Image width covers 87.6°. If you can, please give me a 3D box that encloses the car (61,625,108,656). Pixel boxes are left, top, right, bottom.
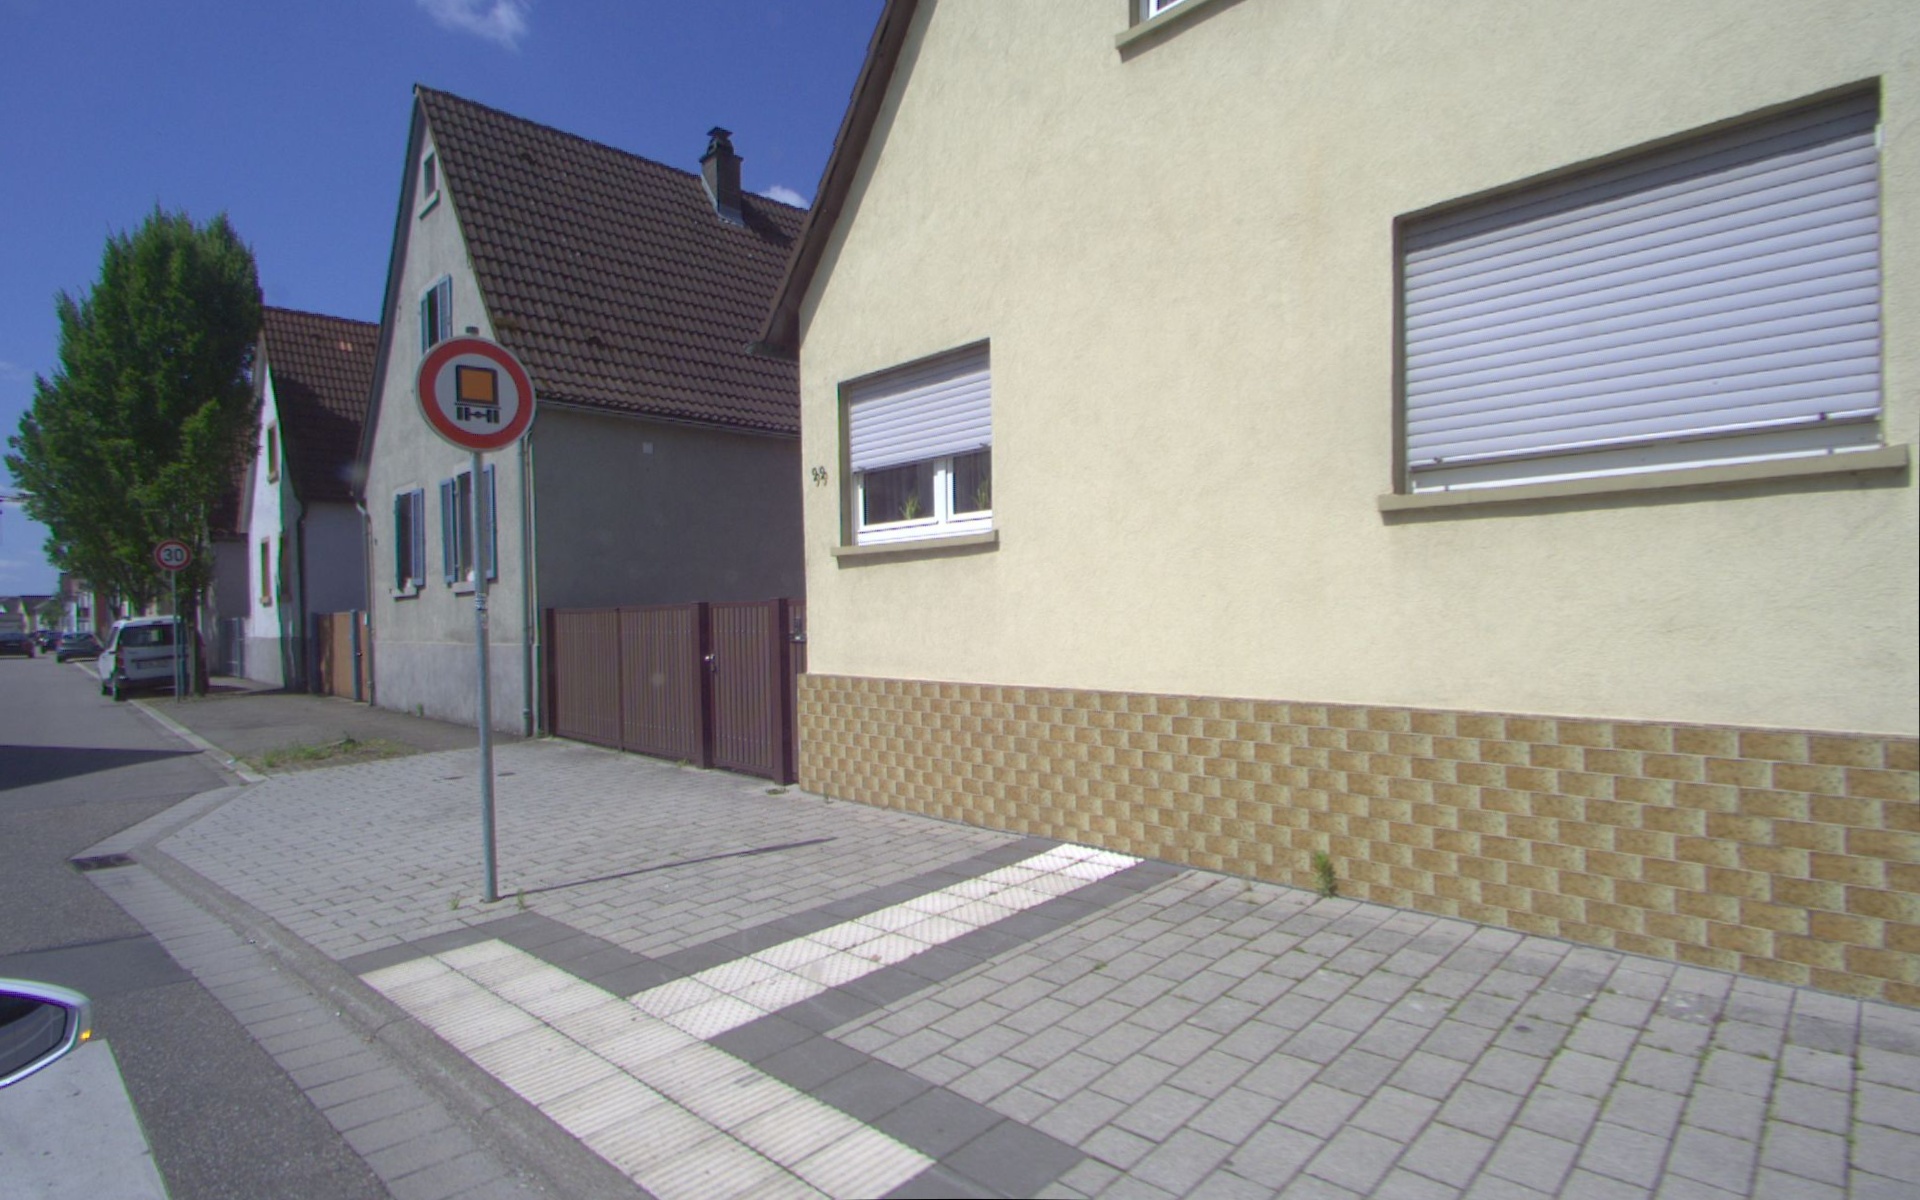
[{"bbox_3d":[-43.890,2.015,50.221,1.707,1.480,4.120,0,-1,-41],"label":"car"}]

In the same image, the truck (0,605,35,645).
[{"bbox_3d":[-105.518,2.828,111.738,3.123,4.304,9.219,2,-3,-42],"label":"truck"}]

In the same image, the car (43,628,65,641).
[{"bbox_3d":[-96.249,3.638,106.397,1.708,1.285,4.117,0,-1,-43],"label":"car"}]

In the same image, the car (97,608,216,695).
[{"bbox_3d":[-18.992,1.146,23.602,1.708,1.814,4.102,-2,1,-45],"label":"car"}]

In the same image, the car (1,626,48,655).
[{"bbox_3d":[-54.051,2.312,57.913,1.889,1.584,4.435,0,-1,-42],"label":"car"}]

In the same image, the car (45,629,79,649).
[{"bbox_3d":[-63.249,2.720,70.519,1.708,1.373,4.117,0,-1,-43],"label":"car"}]
